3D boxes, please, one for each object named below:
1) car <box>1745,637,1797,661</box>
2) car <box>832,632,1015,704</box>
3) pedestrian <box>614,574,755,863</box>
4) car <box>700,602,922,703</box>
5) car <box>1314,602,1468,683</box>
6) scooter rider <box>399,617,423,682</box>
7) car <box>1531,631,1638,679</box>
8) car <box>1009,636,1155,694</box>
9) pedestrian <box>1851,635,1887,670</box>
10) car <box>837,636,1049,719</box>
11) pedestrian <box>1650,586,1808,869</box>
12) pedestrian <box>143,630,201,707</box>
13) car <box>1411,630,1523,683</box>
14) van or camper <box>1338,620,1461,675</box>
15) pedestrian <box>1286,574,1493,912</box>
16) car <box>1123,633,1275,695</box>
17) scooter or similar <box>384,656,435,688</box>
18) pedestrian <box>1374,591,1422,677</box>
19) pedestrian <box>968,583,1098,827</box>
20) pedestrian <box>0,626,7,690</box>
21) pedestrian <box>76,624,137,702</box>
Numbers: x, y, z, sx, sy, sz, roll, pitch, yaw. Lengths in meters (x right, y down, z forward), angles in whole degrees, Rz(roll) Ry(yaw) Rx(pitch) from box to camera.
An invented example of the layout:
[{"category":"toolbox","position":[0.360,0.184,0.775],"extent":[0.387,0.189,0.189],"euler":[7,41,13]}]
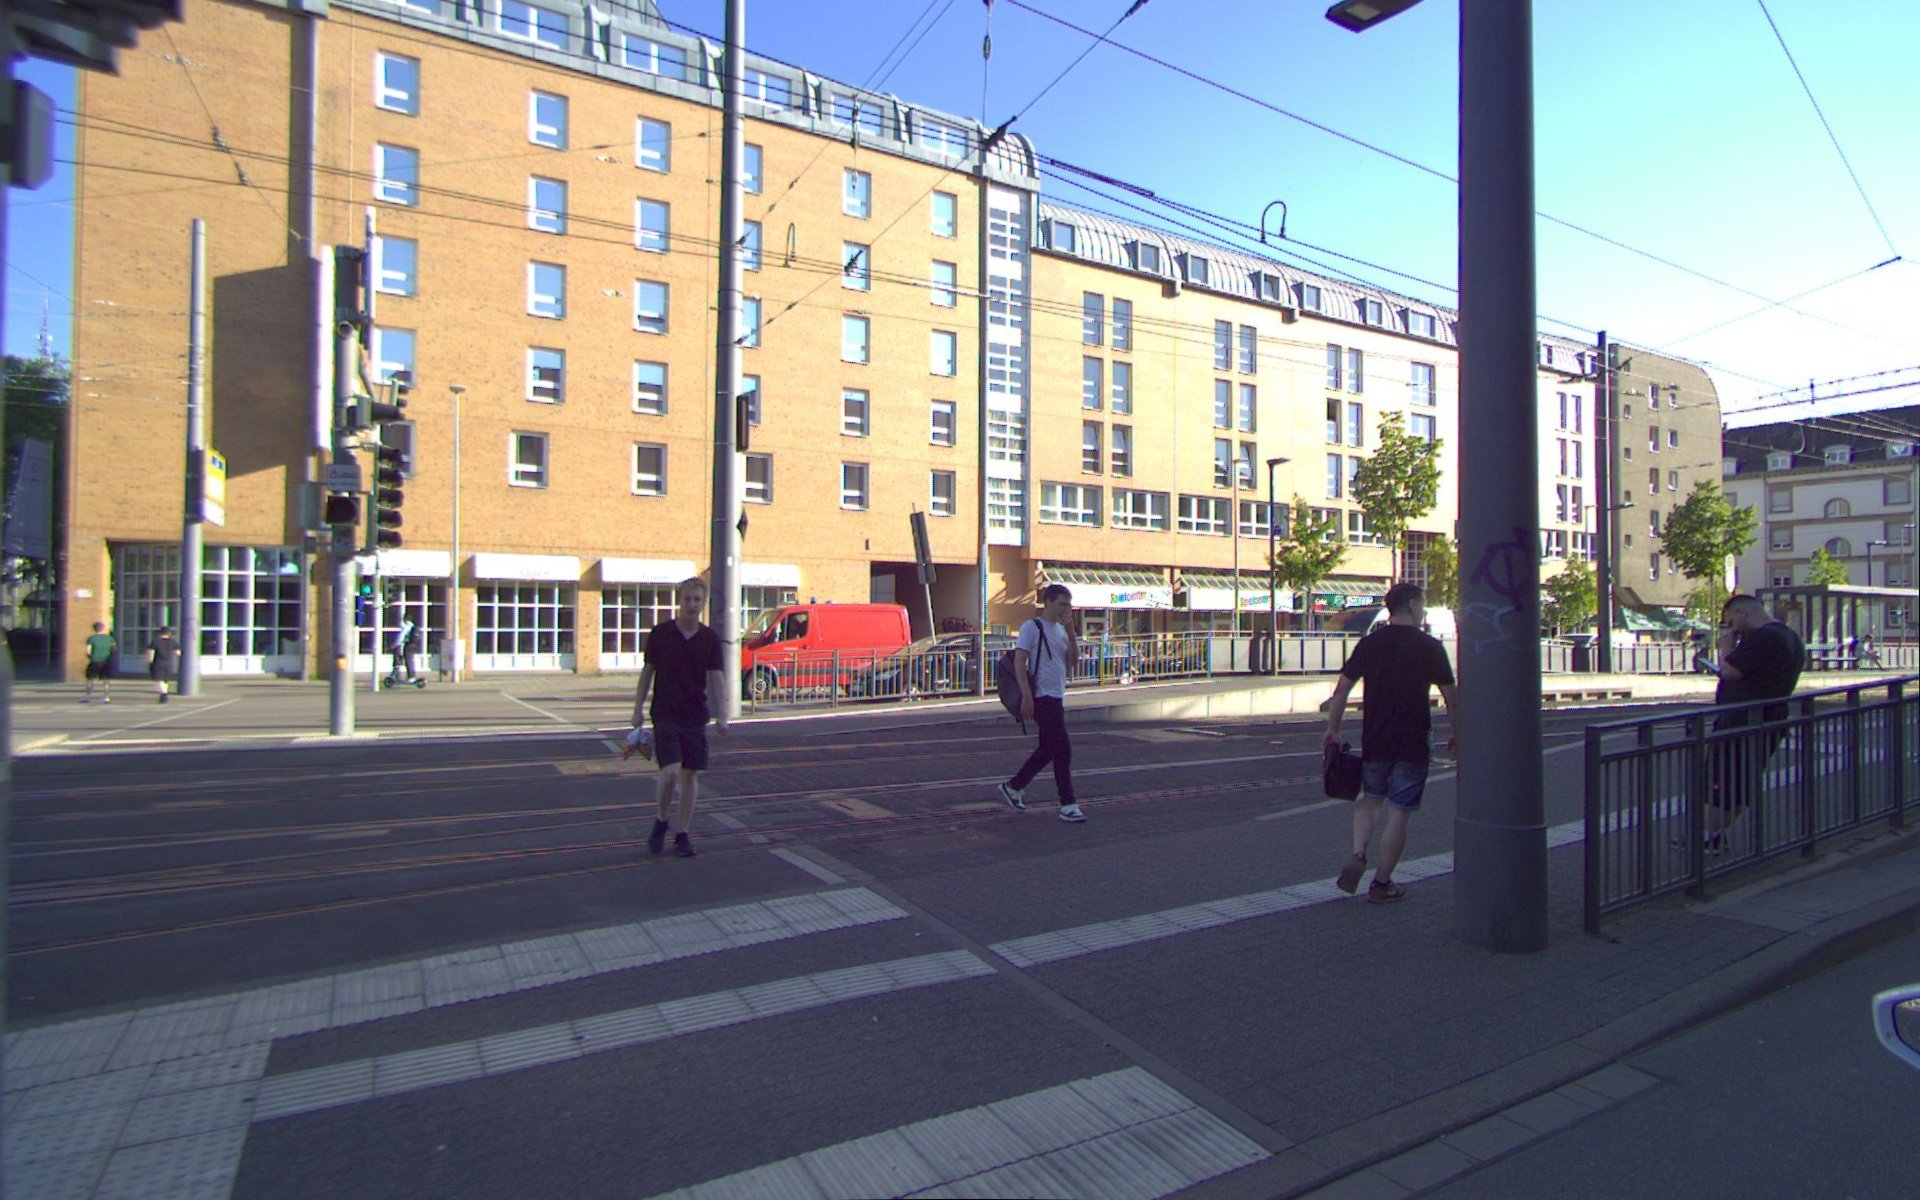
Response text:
[{"category":"car","position":[57.806,3.490,71.594],"extent":[4.115,1.606,1.825],"euler":[0,-2,-35]},{"category":"car","position":[-0.845,1.555,23.911],"extent":[3.955,1.553,1.876],"euler":[0,-2,-32]},{"category":"pedestrian","position":[-1.715,0.719,6.346],"extent":[0.735,1.724,0.624],"euler":[0,-2,-5]},{"category":"car","position":[-3.721,1.309,25.520],"extent":[5.205,2.319,2.068],"euler":[2,-2,-32]},{"category":"car","position":[13.671,1.322,31.804],"extent":[4.863,2.389,2.036],"euler":[1,-2,-31]},{"category":"scooter rider","position":[-15.284,1.383,27.967],"extent":[0.564,1.778,0.530],"euler":[1,-2,-30]},{"category":"car","position":[26.304,2.283,42.279],"extent":[4.260,1.891,1.879],"euler":[0,-2,-27]},{"category":"car","position":[3.609,1.859,29.526],"extent":[3.955,1.553,1.876],"euler":[0,-2,-32]},{"category":"pedestrian","position":[31.678,1.833,35.012],"extent":[0.895,1.205,0.670],"euler":[1,-2,-30]},{"category":"car","position":[-0.311,1.479,20.170],"extent":[3.955,1.467,1.748],"euler":[0,-2,-32]},{"category":"pedestrian","position":[4.471,0.715,5.862],"extent":[0.542,1.559,0.489],"euler":[1,-2,-15]},{"category":"pedestrian","position":[-17.999,1.551,22.956],"extent":[0.763,1.740,0.641],"euler":[0,-2,-1]},{"category":"car","position":[19.442,2.106,38.516],"extent":[4.267,1.891,1.876],"euler":[0,-2,-32]},{"category":"van or camper","position":[19.542,2.050,44.589],"extent":[5.544,2.198,1.986],"euler":[-1,-1,-28]},{"category":"pedestrian","position":[2.225,0.679,5.198],"extent":[0.846,1.559,0.706],"euler":[2,-2,-43]},{"category":"car","position":[6.656,1.720,27.866],"extent":[3.955,1.553,1.876],"euler":[0,-2,-32]},{"category":"scooter or similar","position":[-15.312,1.987,27.933],"extent":[1.225,0.842,0.541],"euler":[1,-2,-30]},{"category":"pedestrian","position":[8.870,0.696,20.363],"extent":[0.568,1.706,0.675],"euler":[1,-2,-25]},{"category":"pedestrian","position":[0.550,0.767,7.648],"extent":[0.769,1.740,0.636],"euler":[1,-2,-30]},{"category":"pedestrian","position":[-23.883,1.420,24.687],"extent":[0.856,1.574,0.543],"euler":[-1,-2,40]},{"category":"pedestrian","position":[-19.246,1.414,22.661],"extent":[0.763,1.740,0.641],"euler":[0,-2,-1]}]
